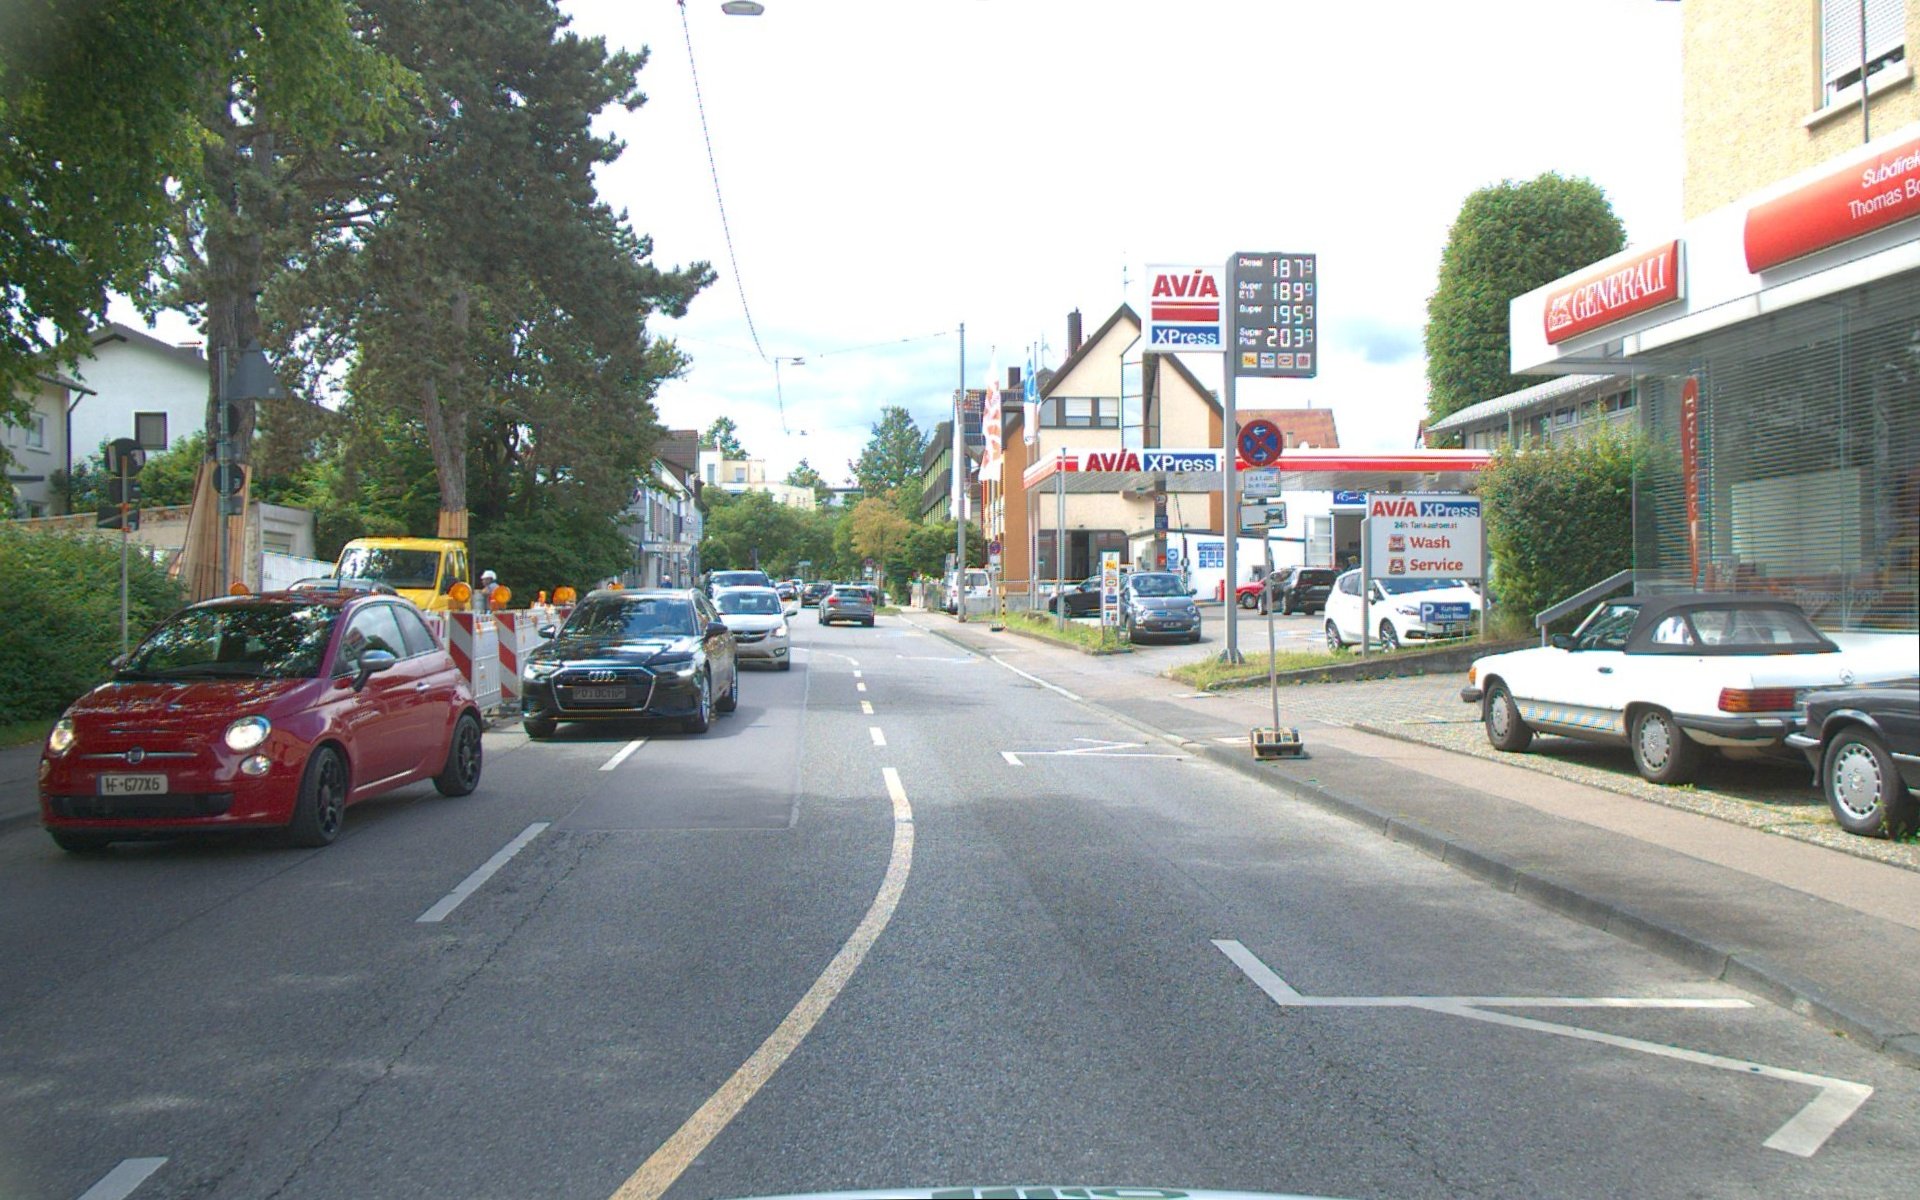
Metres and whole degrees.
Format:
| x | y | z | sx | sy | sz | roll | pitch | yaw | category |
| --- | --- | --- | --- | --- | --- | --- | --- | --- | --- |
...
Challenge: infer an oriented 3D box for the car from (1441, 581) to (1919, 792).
| x | y | z | sx | sy | sz | roll | pitch | yaw | category |
| --- | --- | --- | --- | --- | --- | --- | --- | --- | --- |
| 5.607 | 0.558 | 13.105 | 1.751 | 1.339 | 4.473 | -1 | 0 | -8 | car |

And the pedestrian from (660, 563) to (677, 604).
| x | y | z | sx | sy | sz | roll | pitch | yaw | category |
| --- | --- | --- | --- | --- | --- | --- | --- | --- | --- |
| -12.858 | -0.734 | 72.961 | 0.669 | 1.767 | 0.867 | 1 | -1 | -6 | pedestrian |

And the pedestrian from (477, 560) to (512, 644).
| x | y | z | sx | sy | sz | roll | pitch | yaw | category |
| --- | --- | --- | --- | --- | --- | --- | --- | --- | --- |
| -8.944 | 0.040 | 31.816 | 0.563 | 1.574 | 0.653 | 1 | -1 | -11 | pedestrian |

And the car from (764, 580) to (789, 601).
| x | y | z | sx | sy | sz | roll | pitch | yaw | category |
| --- | --- | --- | --- | --- | --- | --- | --- | --- | --- |
| -14.023 | -0.703 | 126.157 | 1.796 | 1.550 | 4.163 | 0 | 0 | -8 | car |

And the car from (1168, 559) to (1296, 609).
| x | y | z | sx | sy | sz | roll | pitch | yaw | category |
| --- | --- | --- | --- | --- | --- | --- | --- | --- | --- |
| 10.048 | -0.598 | 60.965 | 4.496 | 1.747 | 1.827 | 1 | 0 | 15 | car |

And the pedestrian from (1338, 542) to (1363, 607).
| x | y | z | sx | sy | sz | roll | pitch | yaw | category |
| --- | --- | --- | --- | --- | --- | --- | --- | --- | --- |
| 11.904 | -0.767 | 50.389 | 0.574 | 1.969 | 0.539 | 1 | -1 | 32 | pedestrian |

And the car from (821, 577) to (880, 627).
| x | y | z | sx | sy | sz | roll | pitch | yaw | category |
| --- | --- | --- | --- | --- | --- | --- | --- | --- | --- |
| -4.057 | 0.098 | 60.764 | 1.919 | 1.550 | 4.320 | 1 | -4 | -7 | car |

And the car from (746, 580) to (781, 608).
| x | y | z | sx | sy | sz | roll | pitch | yaw | category |
| --- | --- | --- | --- | --- | --- | --- | --- | --- | --- |
| -10.894 | -0.354 | 91.930 | 1.706 | 1.454 | 4.520 | -1 | 1 | -5 | car |

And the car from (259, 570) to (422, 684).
| x | y | z | sx | sy | sz | roll | pitch | yaw | category |
| --- | --- | --- | --- | --- | --- | --- | --- | --- | --- |
| -9.042 | 0.351 | 24.391 | 1.594 | 1.534 | 3.575 | 1 | 0 | -10 | car |

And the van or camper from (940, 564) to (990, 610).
| x | y | z | sx | sy | sz | roll | pitch | yaw | category |
| --- | --- | --- | --- | --- | --- | --- | --- | --- | --- |
| 0.198 | -0.583 | 76.620 | 1.831 | 2.067 | 4.541 | 1 | 0 | -6 | van or camper |

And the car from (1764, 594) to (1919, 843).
| x | y | z | sx | sy | sz | roll | pitch | yaw | category |
| --- | --- | --- | --- | --- | --- | --- | --- | --- | --- |
| 6.035 | 0.619 | 8.083 | 1.750 | 1.306 | 4.311 | -1 | 0 | -6 | car |

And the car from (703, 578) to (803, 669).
| x | y | z | sx | sy | sz | roll | pitch | yaw | category |
| --- | --- | --- | --- | --- | --- | --- | --- | --- | --- |
| -3.737 | 0.403 | 30.299 | 1.582 | 1.550 | 3.567 | 0 | 0 | -4 | car |

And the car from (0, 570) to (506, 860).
| x | y | z | sx | sy | sz | roll | pitch | yaw | category |
| --- | --- | --- | --- | --- | --- | --- | --- | --- | --- |
| -4.372 | 0.607 | 10.811 | 1.580 | 1.550 | 3.572 | -1 | 1 | 4 | car |

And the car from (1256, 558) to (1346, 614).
| x | y | z | sx | sy | sz | roll | pitch | yaw | category |
| --- | --- | --- | --- | --- | --- | --- | --- | --- | --- |
| 10.535 | -0.398 | 51.402 | 1.598 | 1.636 | 4.567 | 0 | -1 | -4 | car |

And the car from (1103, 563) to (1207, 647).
| x | y | z | sx | sy | sz | roll | pitch | yaw | category |
| --- | --- | --- | --- | --- | --- | --- | --- | --- | --- |
| 4.359 | 0.084 | 37.497 | 1.583 | 1.623 | 4.158 | -6 | 1 | -2 | car |

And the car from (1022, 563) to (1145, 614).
| x | y | z | sx | sy | sz | roll | pitch | yaw | category |
| --- | --- | --- | --- | --- | --- | --- | --- | --- | --- |
| 4.607 | -0.427 | 61.705 | 4.225 | 1.658 | 1.633 | -3 | 1 | 31 | car |

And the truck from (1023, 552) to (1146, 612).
| x | y | z | sx | sy | sz | roll | pitch | yaw | category |
| --- | --- | --- | --- | --- | --- | --- | --- | --- | --- |
| 5.374 | -0.793 | 71.645 | 4.988 | 2.500 | 2.355 | 0 | 2 | -6 | truck |

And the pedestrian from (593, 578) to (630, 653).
| x | y | z | sx | sy | sz | roll | pitch | yaw | category |
| --- | --- | --- | --- | --- | --- | --- | --- | --- | --- |
| -7.646 | 0.335 | 36.313 | 0.561 | 1.629 | 0.534 | 0 | -1 | 39 | pedestrian |

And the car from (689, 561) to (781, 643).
| x | y | z | sx | sy | sz | roll | pitch | yaw | category |
| --- | --- | --- | --- | --- | --- | --- | --- | --- | --- |
| -5.907 | 0.008 | 43.021 | 1.876 | 1.986 | 4.896 | -1 | 1 | -14 | car |

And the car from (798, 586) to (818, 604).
| x | y | z | sx | sy | sz | roll | pitch | yaw | category |
| --- | --- | --- | --- | --- | --- | --- | --- | --- | --- |
| -13.289 | -0.397 | 144.266 | 1.584 | 1.550 | 3.563 | 0 | 0 | -8 | car |

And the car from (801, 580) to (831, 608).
| x | y | z | sx | sy | sz | roll | pitch | yaw | category |
| --- | --- | --- | --- | --- | --- | --- | --- | --- | --- |
| -8.434 | -0.347 | 96.485 | 1.584 | 1.550 | 3.563 | 0 | 0 | -8 | car |

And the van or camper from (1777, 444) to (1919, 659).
| x | y | z | sx | sy | sz | roll | pitch | yaw | category |
| --- | --- | --- | --- | --- | --- | --- | --- | --- | --- |
| 15.495 | -0.890 | 24.179 | 5.849 | 2.900 | 2.527 | -5 | 1 | -9 | van or camper |

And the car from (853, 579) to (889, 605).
| x | y | z | sx | sy | sz | roll | pitch | yaw | category |
| --- | --- | --- | --- | --- | --- | --- | --- | --- | --- |
| -5.201 | -0.471 | 96.415 | 1.946 | 1.473 | 4.746 | 0 | 0 | -5 | car |

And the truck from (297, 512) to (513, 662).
| x | y | z | sx | sy | sz | roll | pitch | yaw | category |
| --- | --- | --- | --- | --- | --- | --- | --- | --- | --- |
| -10.055 | -0.201 | 30.558 | 2.260 | 2.462 | 6.088 | 1 | 0 | -4 | truck |

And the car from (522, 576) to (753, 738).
| x | y | z | sx | sy | sz | roll | pitch | yaw | category |
| --- | --- | --- | --- | --- | --- | --- | --- | --- | --- |
| -3.409 | 0.543 | 18.305 | 1.782 | 1.550 | 4.559 | 0 | 0 | -2 | car |

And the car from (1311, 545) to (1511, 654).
| x | y | z | sx | sy | sz | roll | pitch | yaw | category |
| --- | --- | --- | --- | --- | --- | --- | --- | --- | --- |
| 7.365 | 0.002 | 27.450 | 1.604 | 1.555 | 4.196 | -4 | 0 | -8 | car |
